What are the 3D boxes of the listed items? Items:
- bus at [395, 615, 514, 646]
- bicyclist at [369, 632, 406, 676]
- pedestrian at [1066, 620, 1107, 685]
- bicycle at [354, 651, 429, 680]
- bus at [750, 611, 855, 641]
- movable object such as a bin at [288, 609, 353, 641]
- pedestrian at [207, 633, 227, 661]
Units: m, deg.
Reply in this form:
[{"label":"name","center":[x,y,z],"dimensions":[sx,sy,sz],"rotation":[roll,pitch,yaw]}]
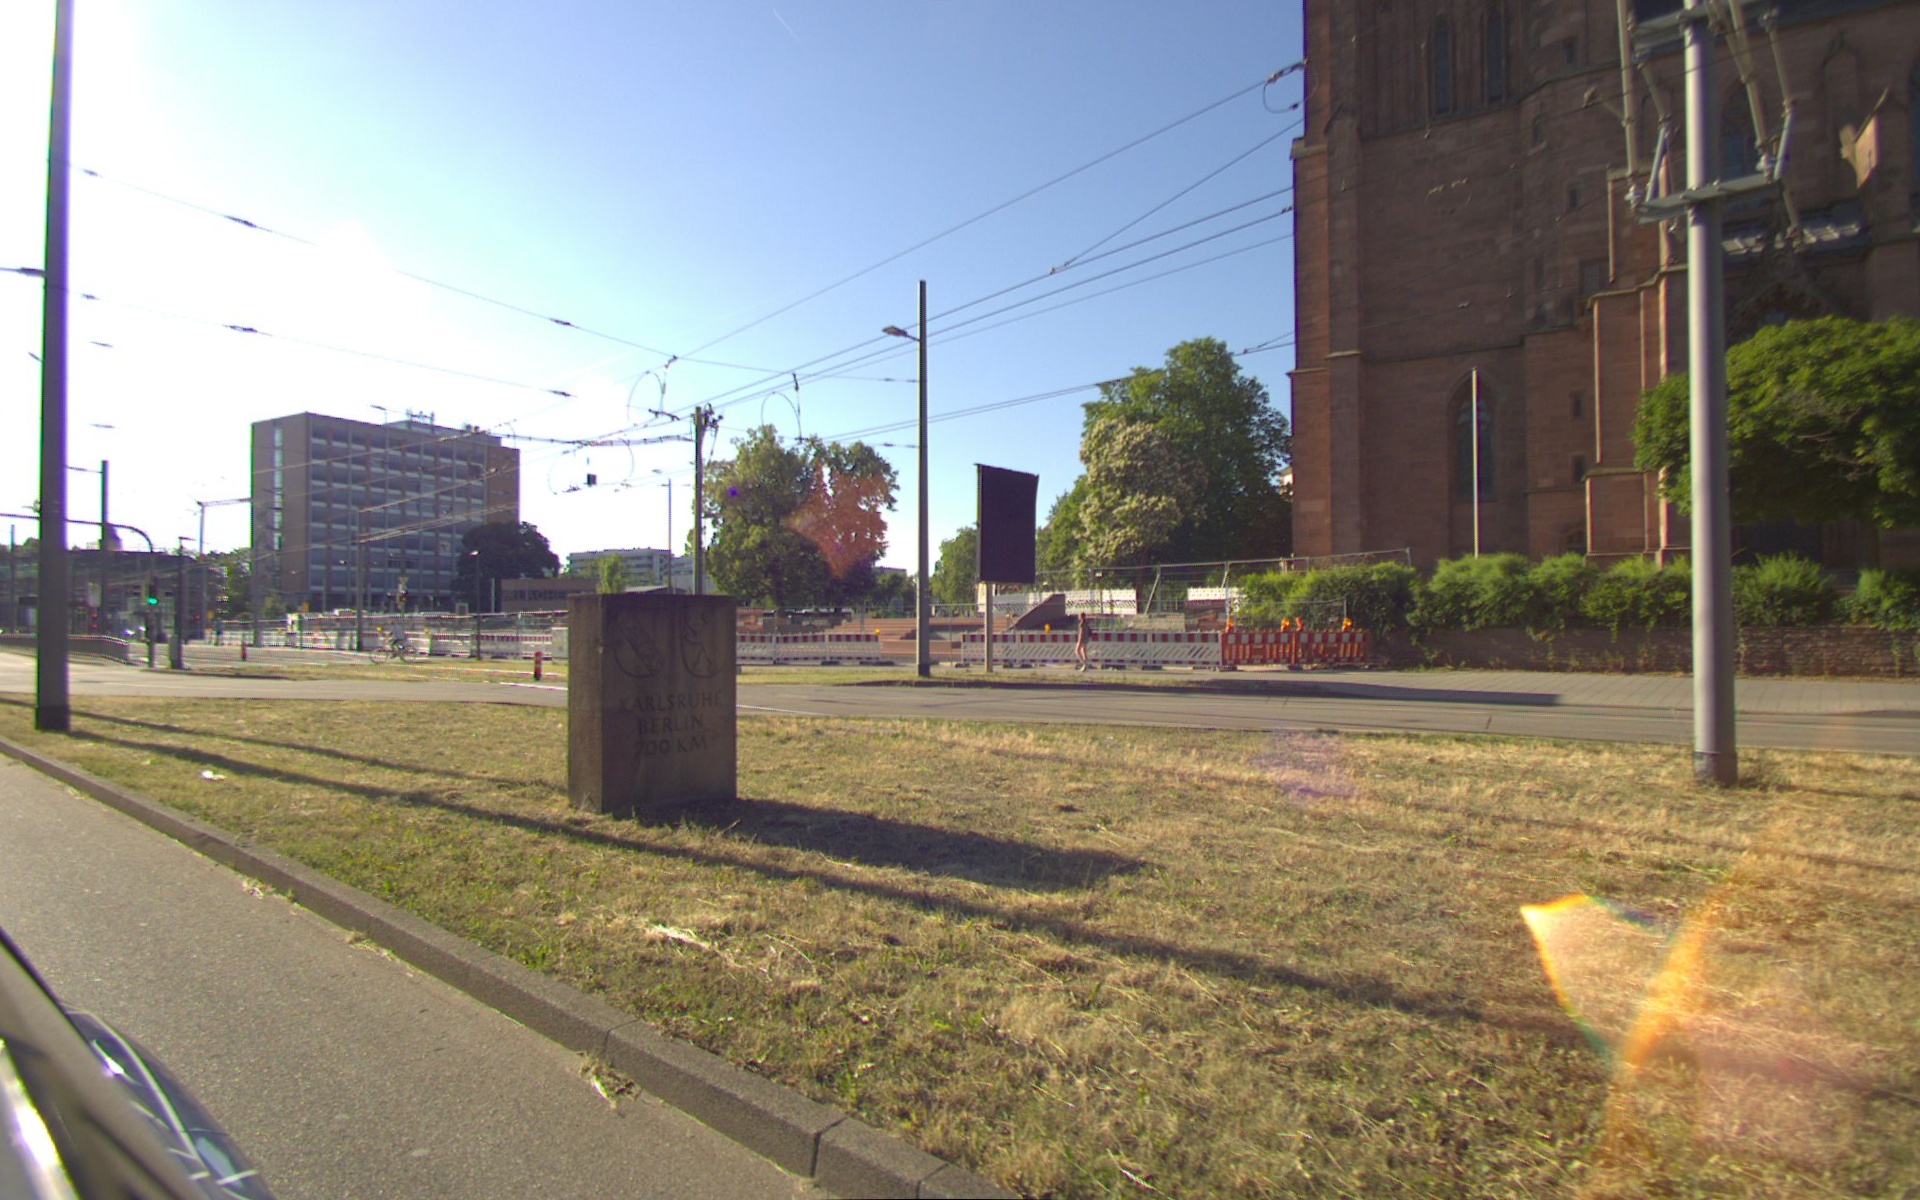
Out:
[{"label":"bus","center":[-60.072,3.628,120.472],"dimensions":[12.469,3.219,2.844],"rotation":[-2,-4,-4]},{"label":"bicyclist","center":[-24.708,2.348,43.682],"dimensions":[1.297,1.823,0.968],"rotation":[-1,-4,-33]},{"label":"pedestrian","center":[3.594,1.507,28.777],"dimensions":[0.862,1.787,0.721],"rotation":[-5,-5,39]},{"label":"bicycle","center":[-24.569,2.823,43.746],"dimensions":[2.776,1.105,0.968],"rotation":[-1,-4,-33]},{"label":"bus","center":[-19.128,3.207,123.832],"dimensions":[12.469,3.219,3.254],"rotation":[-2,-4,-4]},{"label":"movable object such as a bin","center":[-58.217,2.326,92.135],"dimensions":[5.138,2.545,2.613],"rotation":[-4,-5,24]},{"label":"pedestrian","center":[-48.965,3.120,66.716],"dimensions":[1.179,1.782,0.793],"rotation":[-6,-6,42]}]
